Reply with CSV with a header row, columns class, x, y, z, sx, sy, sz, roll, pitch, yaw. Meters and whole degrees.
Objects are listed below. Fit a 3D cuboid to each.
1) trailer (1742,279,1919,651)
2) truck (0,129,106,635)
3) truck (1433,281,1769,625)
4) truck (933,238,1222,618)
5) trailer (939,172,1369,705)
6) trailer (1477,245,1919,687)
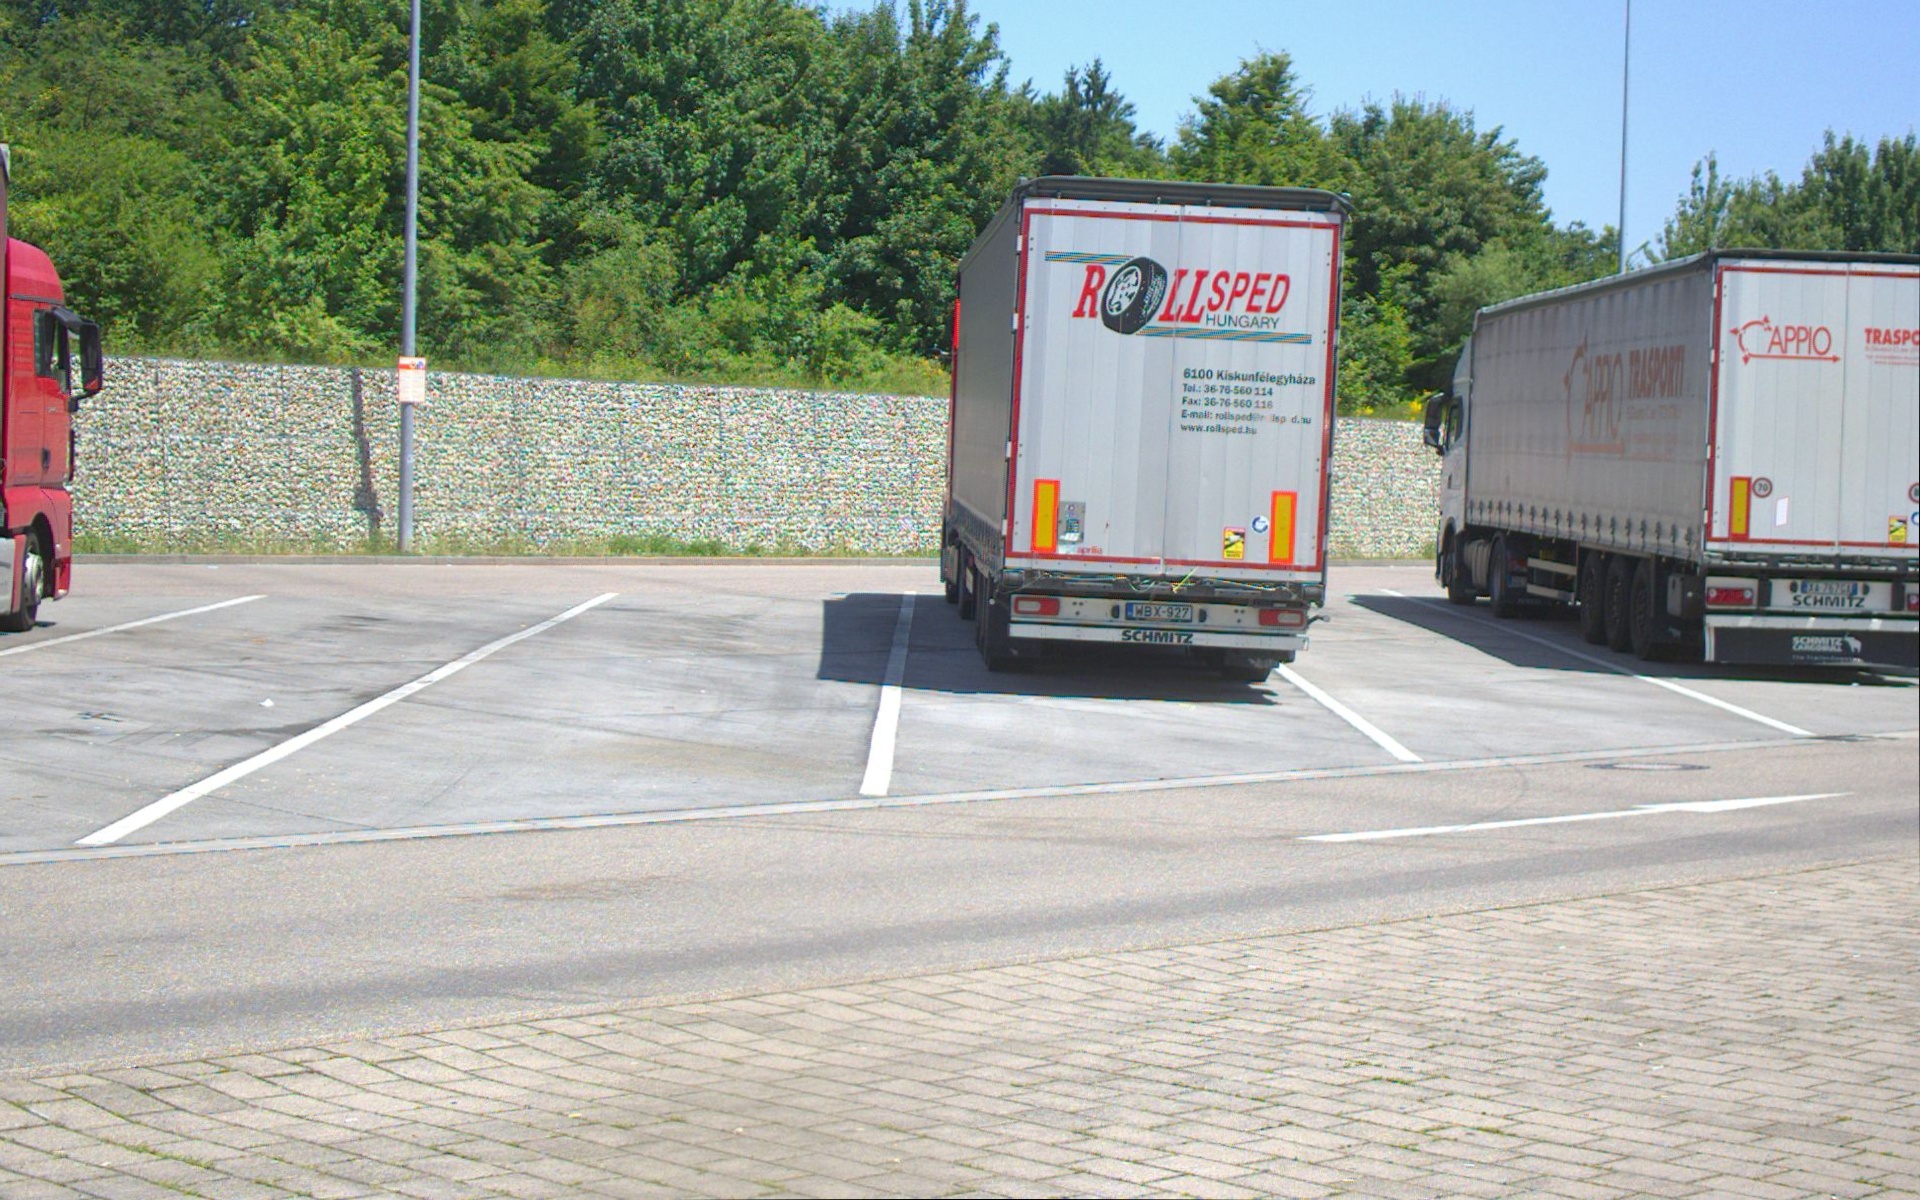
class,x,y,z,sx,sy,sz,roll,pitch,yaw
trailer,11.851,-1.529,39.032,2.866,4.023,12.439,2,3,0
truck,-9.137,-1.809,27.993,2.696,4.099,6.240,2,3,0
truck,8.137,-1.950,44.595,2.866,4.023,6.957,2,3,0
truck,1.239,-2.053,40.710,2.866,4.023,7.028,2,3,-2
trailer,1.451,-1.635,33.631,2.866,4.023,14.243,2,3,-2
trailer,8.195,-1.568,37.968,2.866,4.023,12.439,2,3,0
